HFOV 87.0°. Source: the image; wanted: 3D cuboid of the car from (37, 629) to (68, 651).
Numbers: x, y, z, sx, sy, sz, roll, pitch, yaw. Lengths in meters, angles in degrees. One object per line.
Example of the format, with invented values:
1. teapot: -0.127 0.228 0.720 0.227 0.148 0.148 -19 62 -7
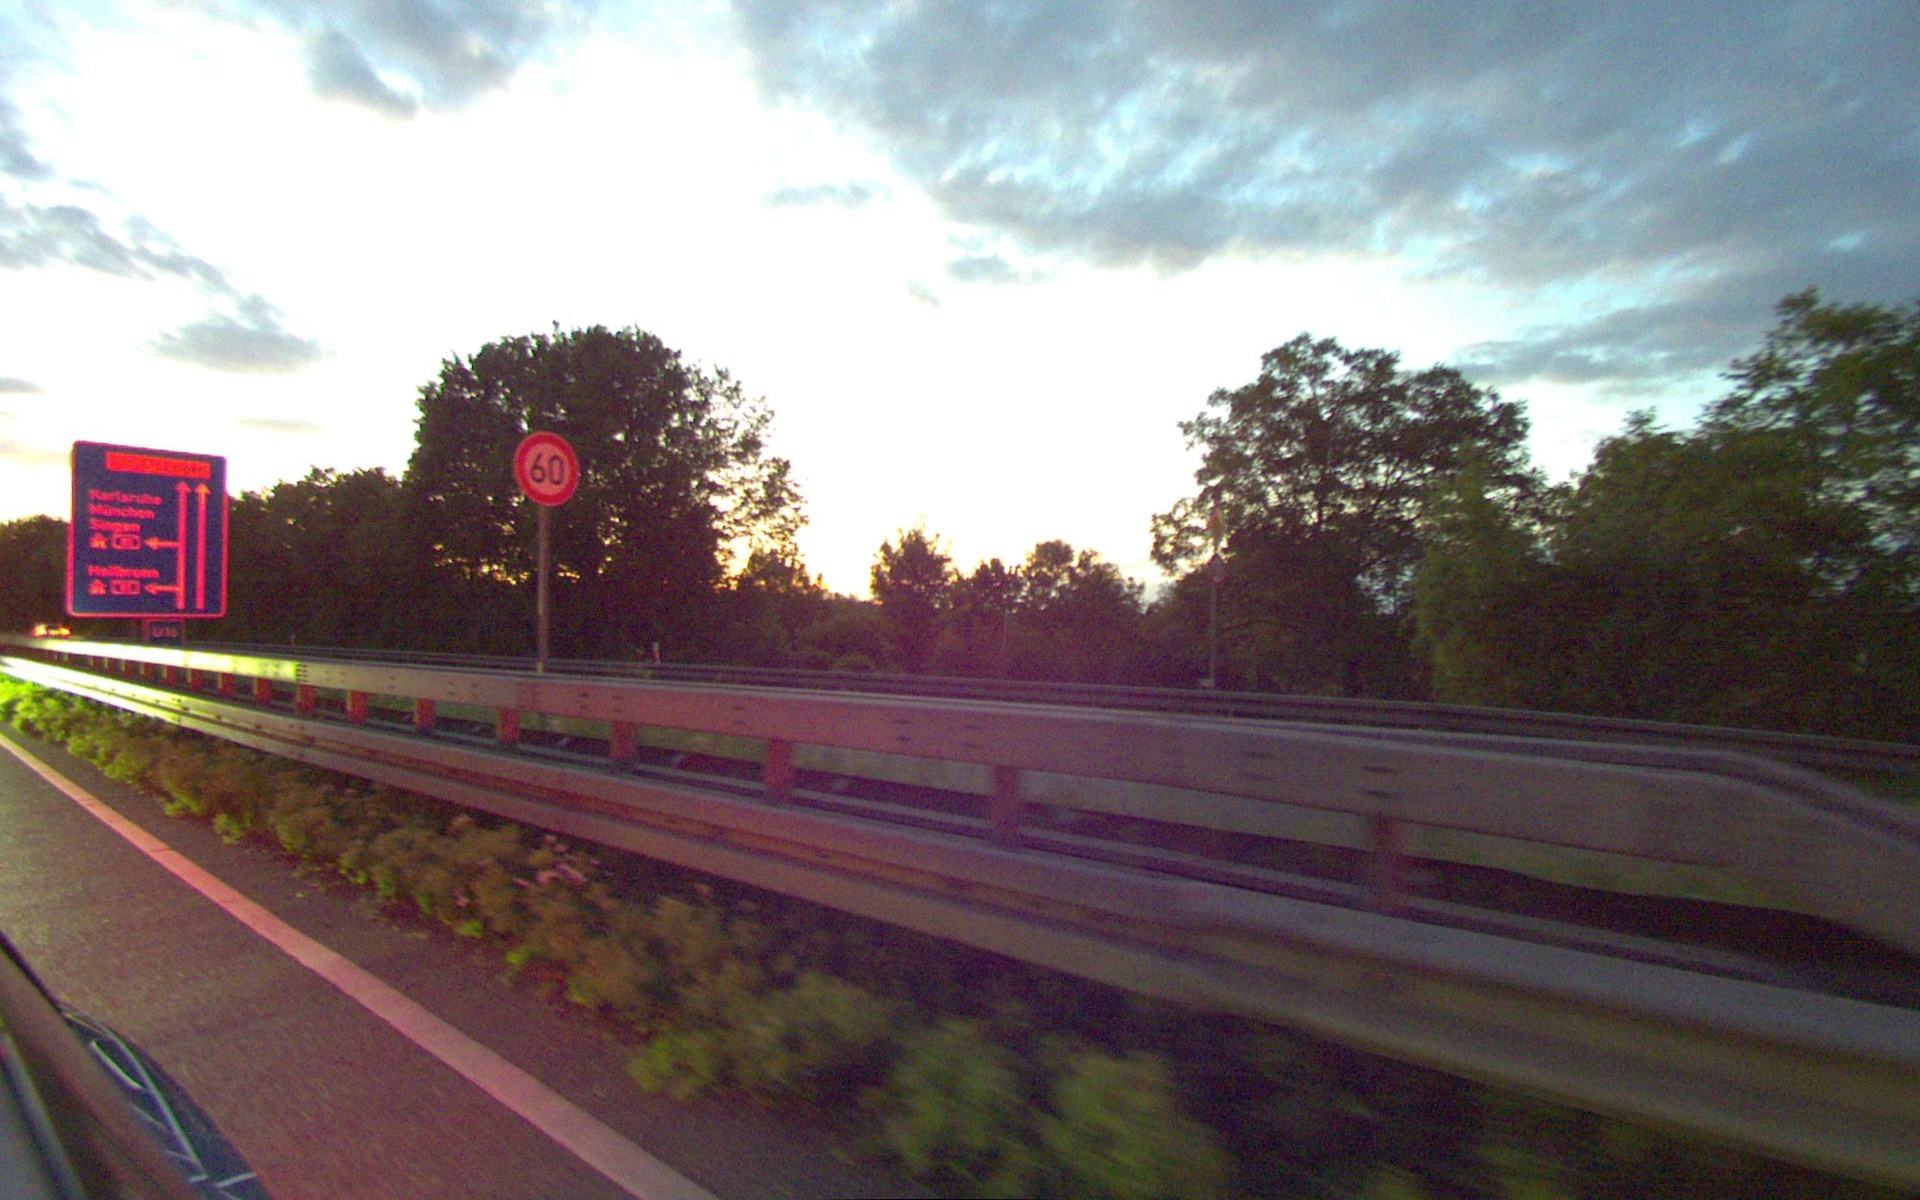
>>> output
1. car: -72.764 3.146 81.147 1.773 1.684 4.506 1 -2 -43
